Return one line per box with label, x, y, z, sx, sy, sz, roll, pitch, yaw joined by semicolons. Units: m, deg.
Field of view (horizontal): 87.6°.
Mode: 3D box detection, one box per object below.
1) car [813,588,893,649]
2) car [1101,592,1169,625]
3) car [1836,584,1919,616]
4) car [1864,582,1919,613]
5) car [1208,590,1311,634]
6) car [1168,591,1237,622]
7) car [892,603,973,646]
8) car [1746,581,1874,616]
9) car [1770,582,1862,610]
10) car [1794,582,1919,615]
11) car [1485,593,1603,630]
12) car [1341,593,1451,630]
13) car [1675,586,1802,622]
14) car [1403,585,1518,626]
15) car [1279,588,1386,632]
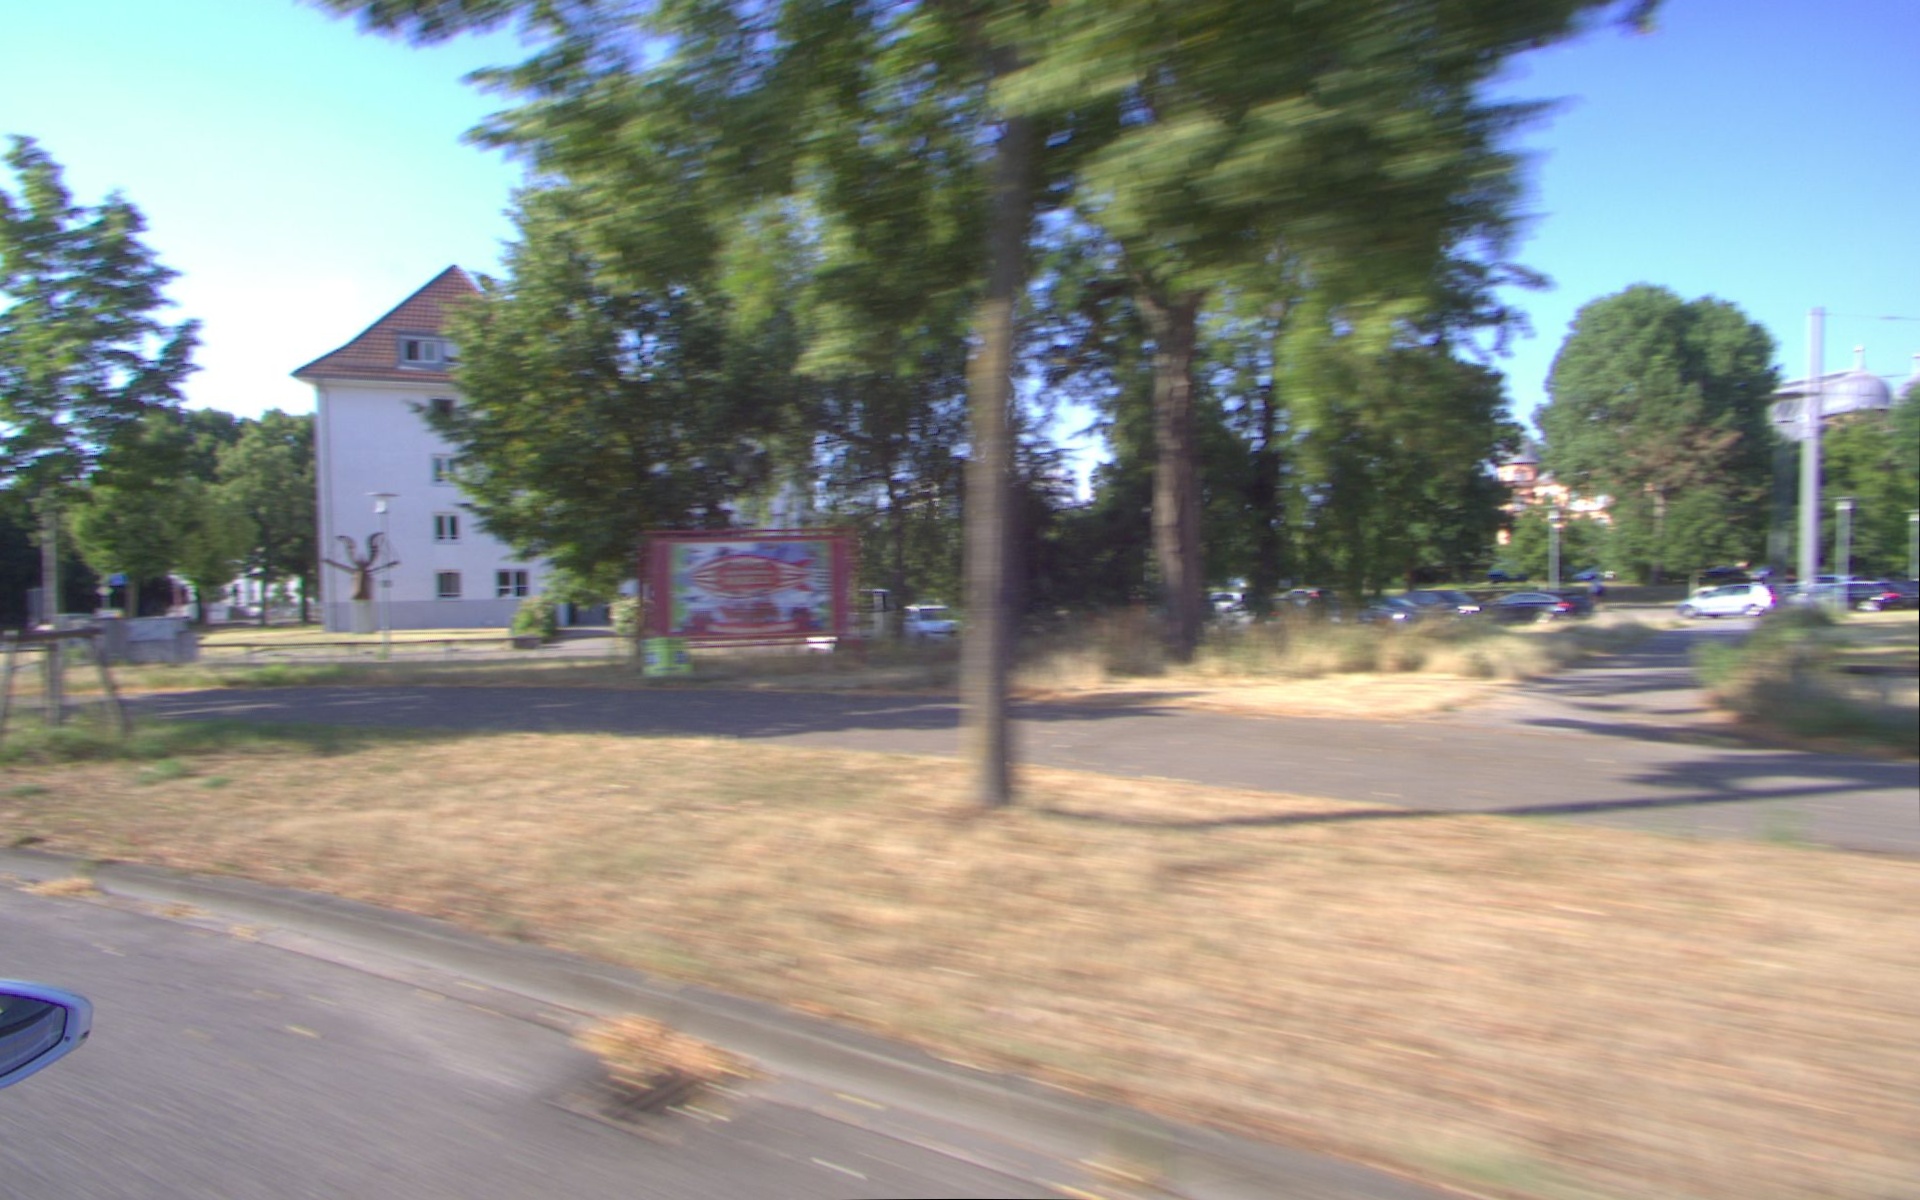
car;-3.223;0.503;29.417;1.745;1.639;3.962;-1;0;-15
car;8.063;0.382;46.375;1.577;1.420;3.962;-1;0;-15
car;42.996;-0.025;45.858;1.796;1.421;3.990;-1;0;-19
car;45.467;-0.135;47.122;1.796;1.421;3.990;-1;0;-19
car;10.327;0.383;34.803;1.577;1.420;3.962;-1;0;-15
car;11.805;0.313;49.013;1.577;1.420;3.962;-1;0;-15
car;-0.897;0.688;30.101;1.577;1.197;3.962;-1;0;-15
car;37.565;-0.061;44.384;1.796;1.421;3.990;-1;0;-19
car;53.085;-0.253;62.169;1.796;1.694;3.990;-1;0;-19
car;40.404;-0.060;45.152;1.796;1.421;3.990;-1;0;-19
car;22.263;0.411;38.345;1.577;1.327;3.962;-1;0;-15
car;15.808;0.399;36.507;1.577;1.237;3.962;-1;0;-15
car;33.235;0.157;42.891;1.796;1.421;3.990;-1;0;-19
car;18.362;0.194;36.920;1.577;1.420;3.962;-1;0;-15
car;13.097;0.335;35.480;1.577;1.420;3.962;-1;0;-15
